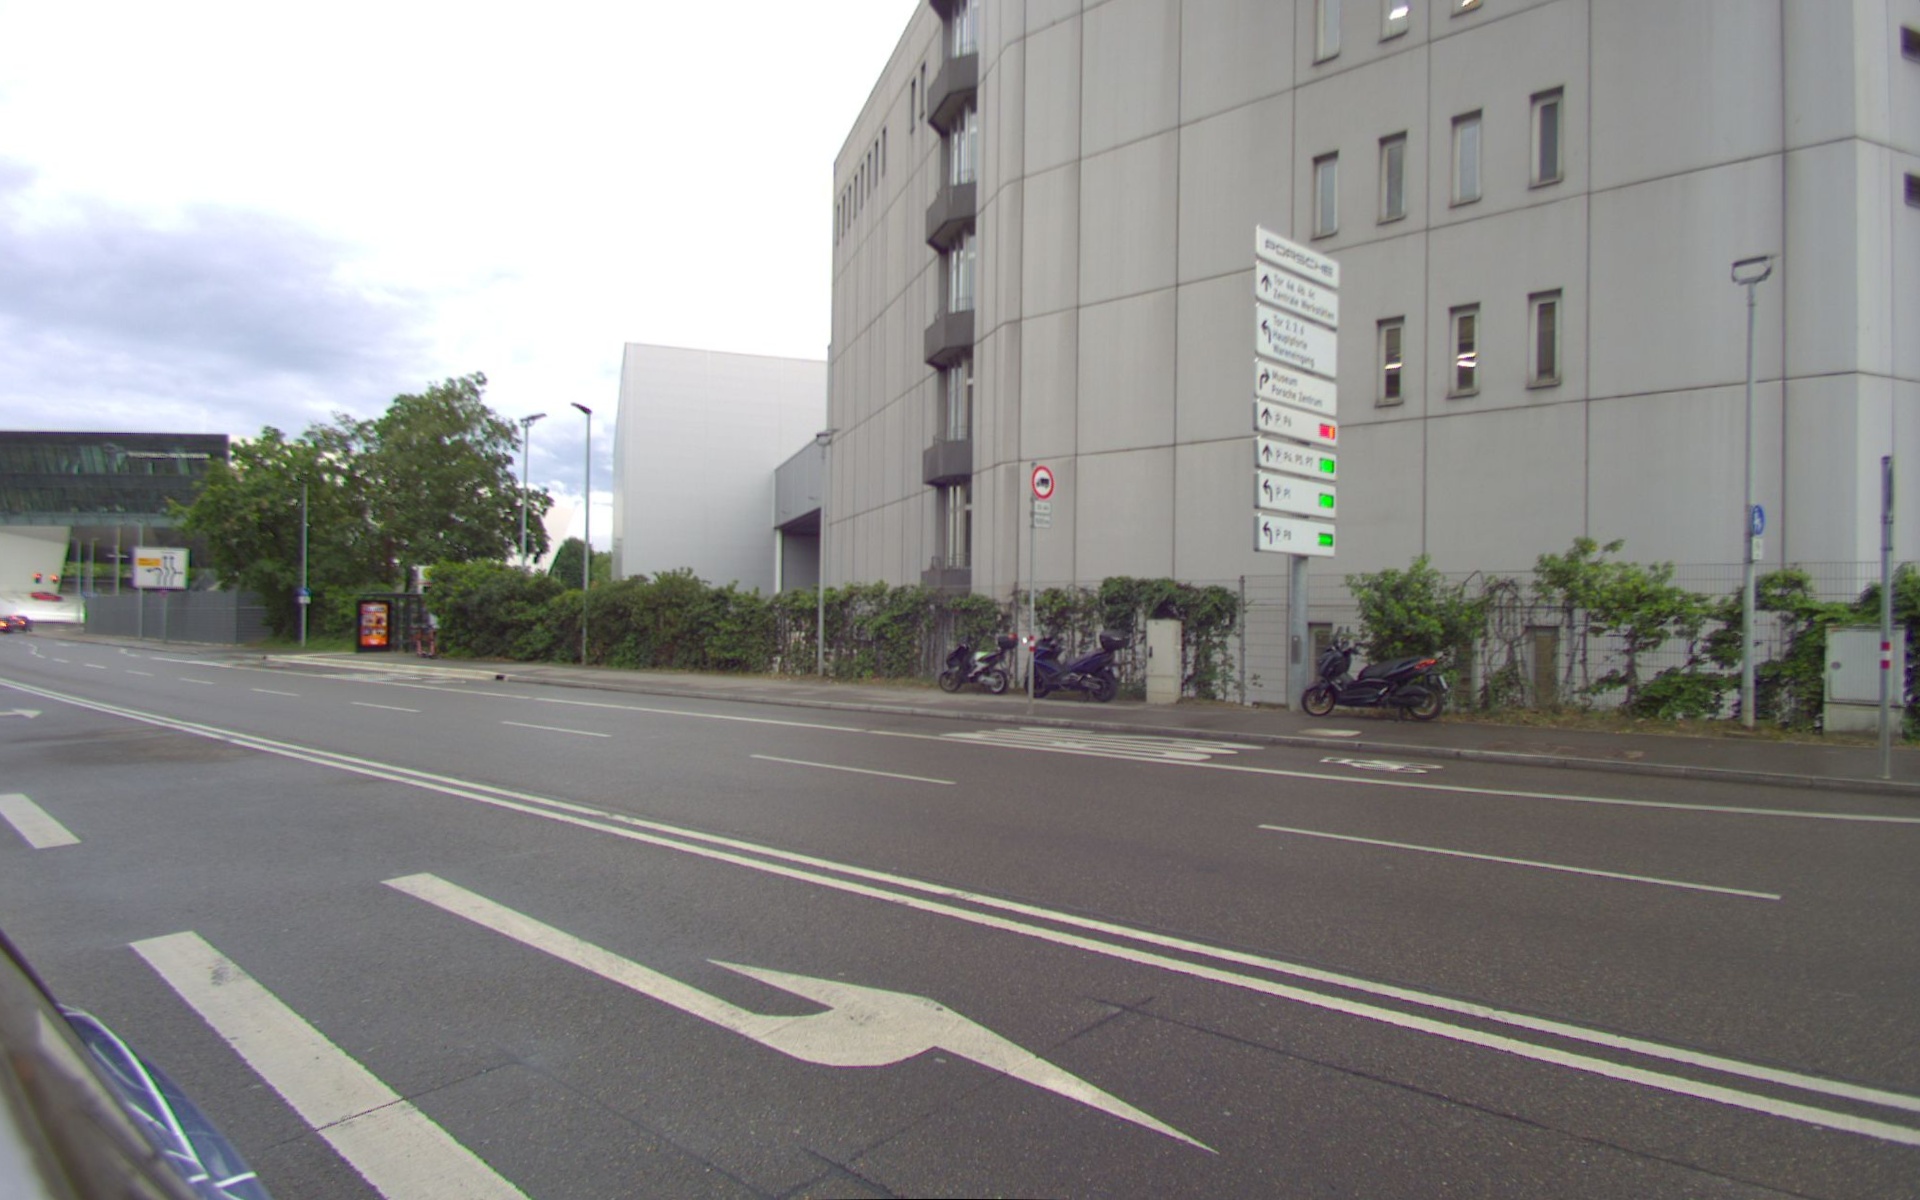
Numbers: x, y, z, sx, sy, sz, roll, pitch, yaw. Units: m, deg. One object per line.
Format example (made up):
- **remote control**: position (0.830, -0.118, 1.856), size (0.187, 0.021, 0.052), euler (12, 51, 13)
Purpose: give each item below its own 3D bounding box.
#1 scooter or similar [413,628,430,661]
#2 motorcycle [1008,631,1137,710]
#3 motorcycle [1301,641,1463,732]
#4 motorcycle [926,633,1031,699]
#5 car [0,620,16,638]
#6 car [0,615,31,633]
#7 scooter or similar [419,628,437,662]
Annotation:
- **scooter or similar**: position (-20.258, 1.660, 38.044), size (0.383, 1.189, 1.253), euler (1, -2, -36)
- **motorcycle**: position (2.076, 1.274, 18.894), size (2.368, 1.358, 0.776), euler (-1, -2, 40)
- **motorcycle**: position (6.414, 1.277, 15.451), size (2.156, 1.257, 0.777), euler (-1, -2, 40)
- **motorcycle**: position (0.351, 1.321, 20.696), size (2.156, 1.260, 0.777), euler (-1, -2, 40)
- **car**: position (-85.025, 2.546, 88.987), size (2.233, 1.488, 4.059), euler (1, -1, -32)
- **car**: position (-88.878, 2.267, 94.847), size (1.834, 1.663, 3.799), euler (1, -2, -30)
- **scooter or similar**: position (-19.405, 1.626, 36.911), size (0.373, 1.190, 1.380), euler (1, -2, -36)
